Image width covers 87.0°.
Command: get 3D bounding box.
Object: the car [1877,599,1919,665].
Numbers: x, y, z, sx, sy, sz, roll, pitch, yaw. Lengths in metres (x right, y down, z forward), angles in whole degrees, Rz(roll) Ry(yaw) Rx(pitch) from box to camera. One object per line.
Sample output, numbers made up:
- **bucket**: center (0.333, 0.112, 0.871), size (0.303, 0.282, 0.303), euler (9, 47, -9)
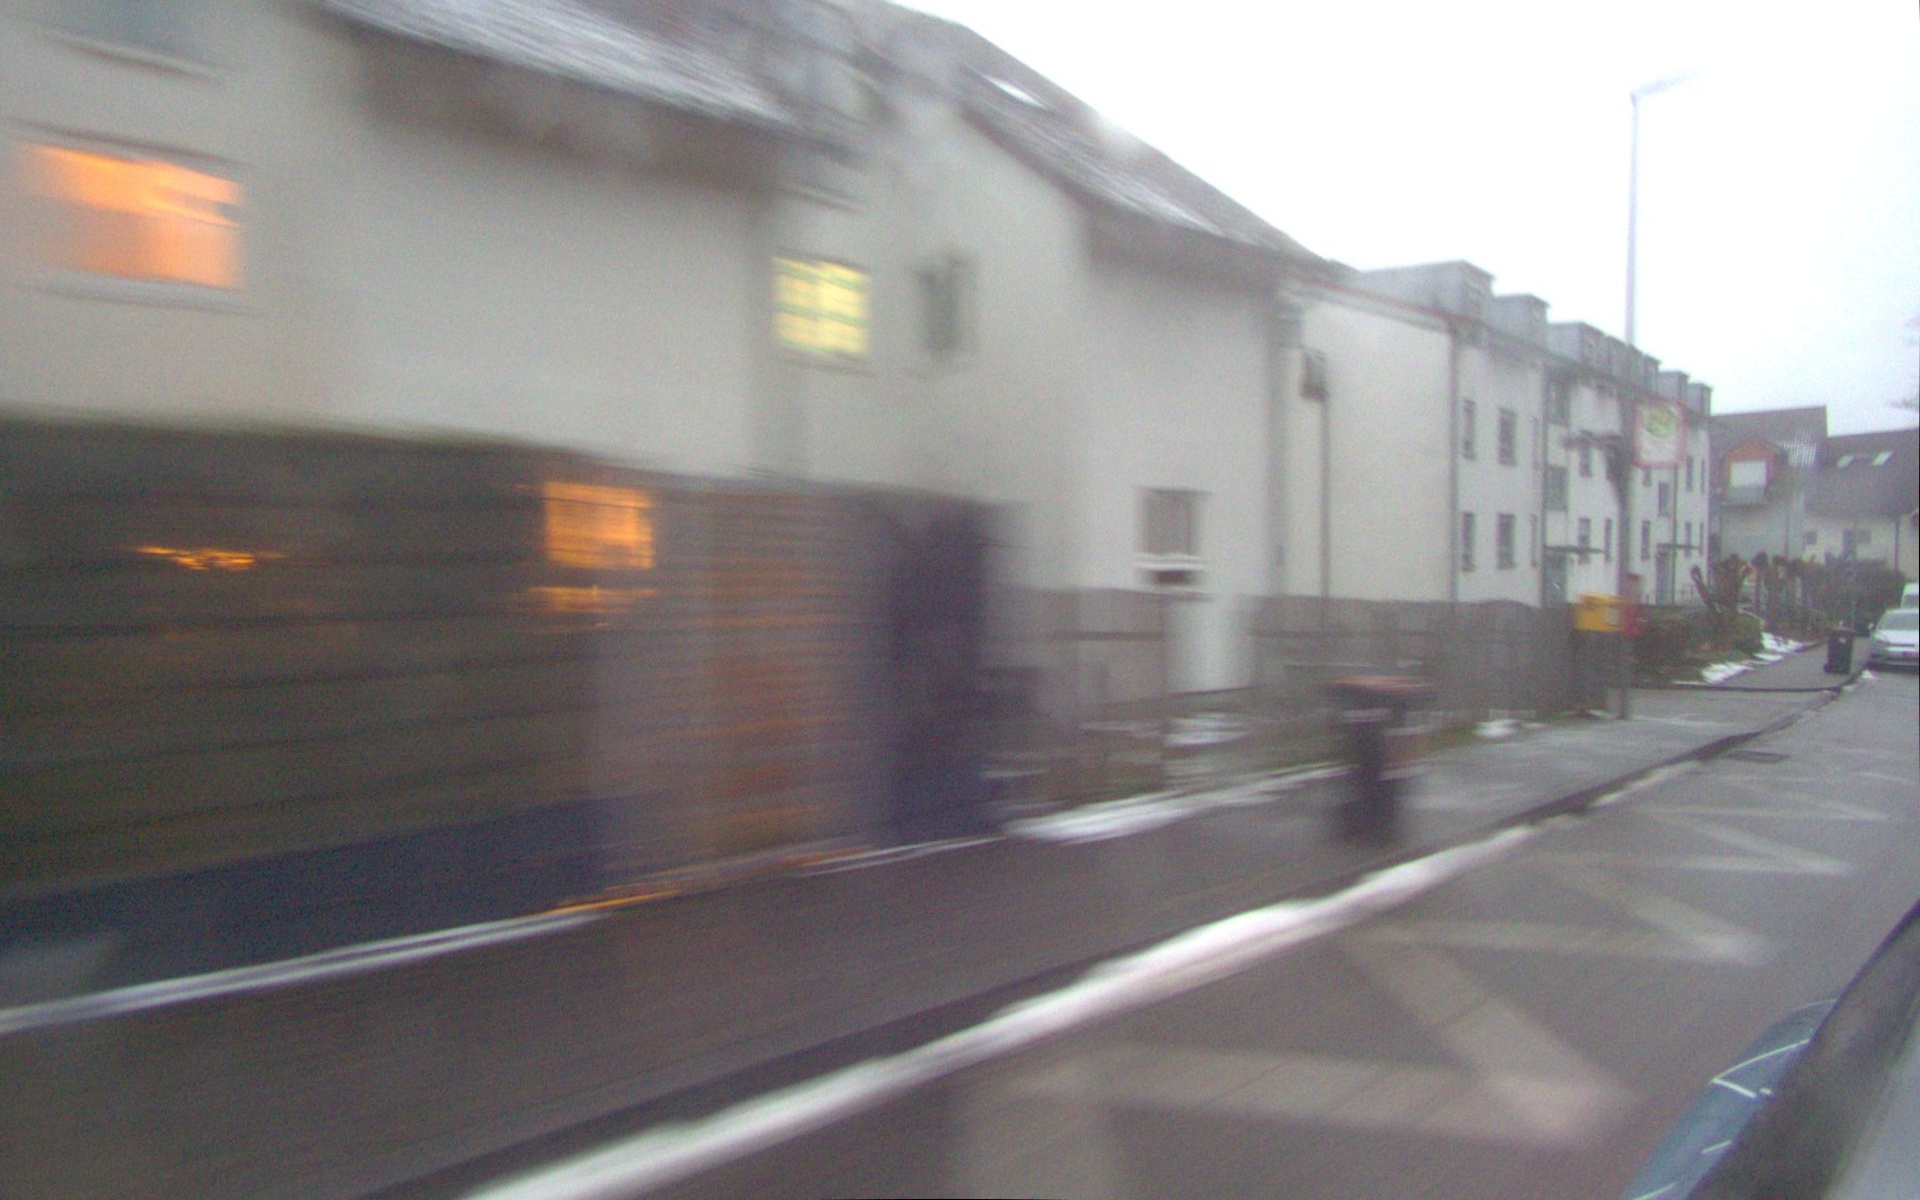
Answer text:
- **car**: center (23.082, 0.714, 24.077), size (1.738, 1.447, 4.386), euler (-1, 0, 44)
